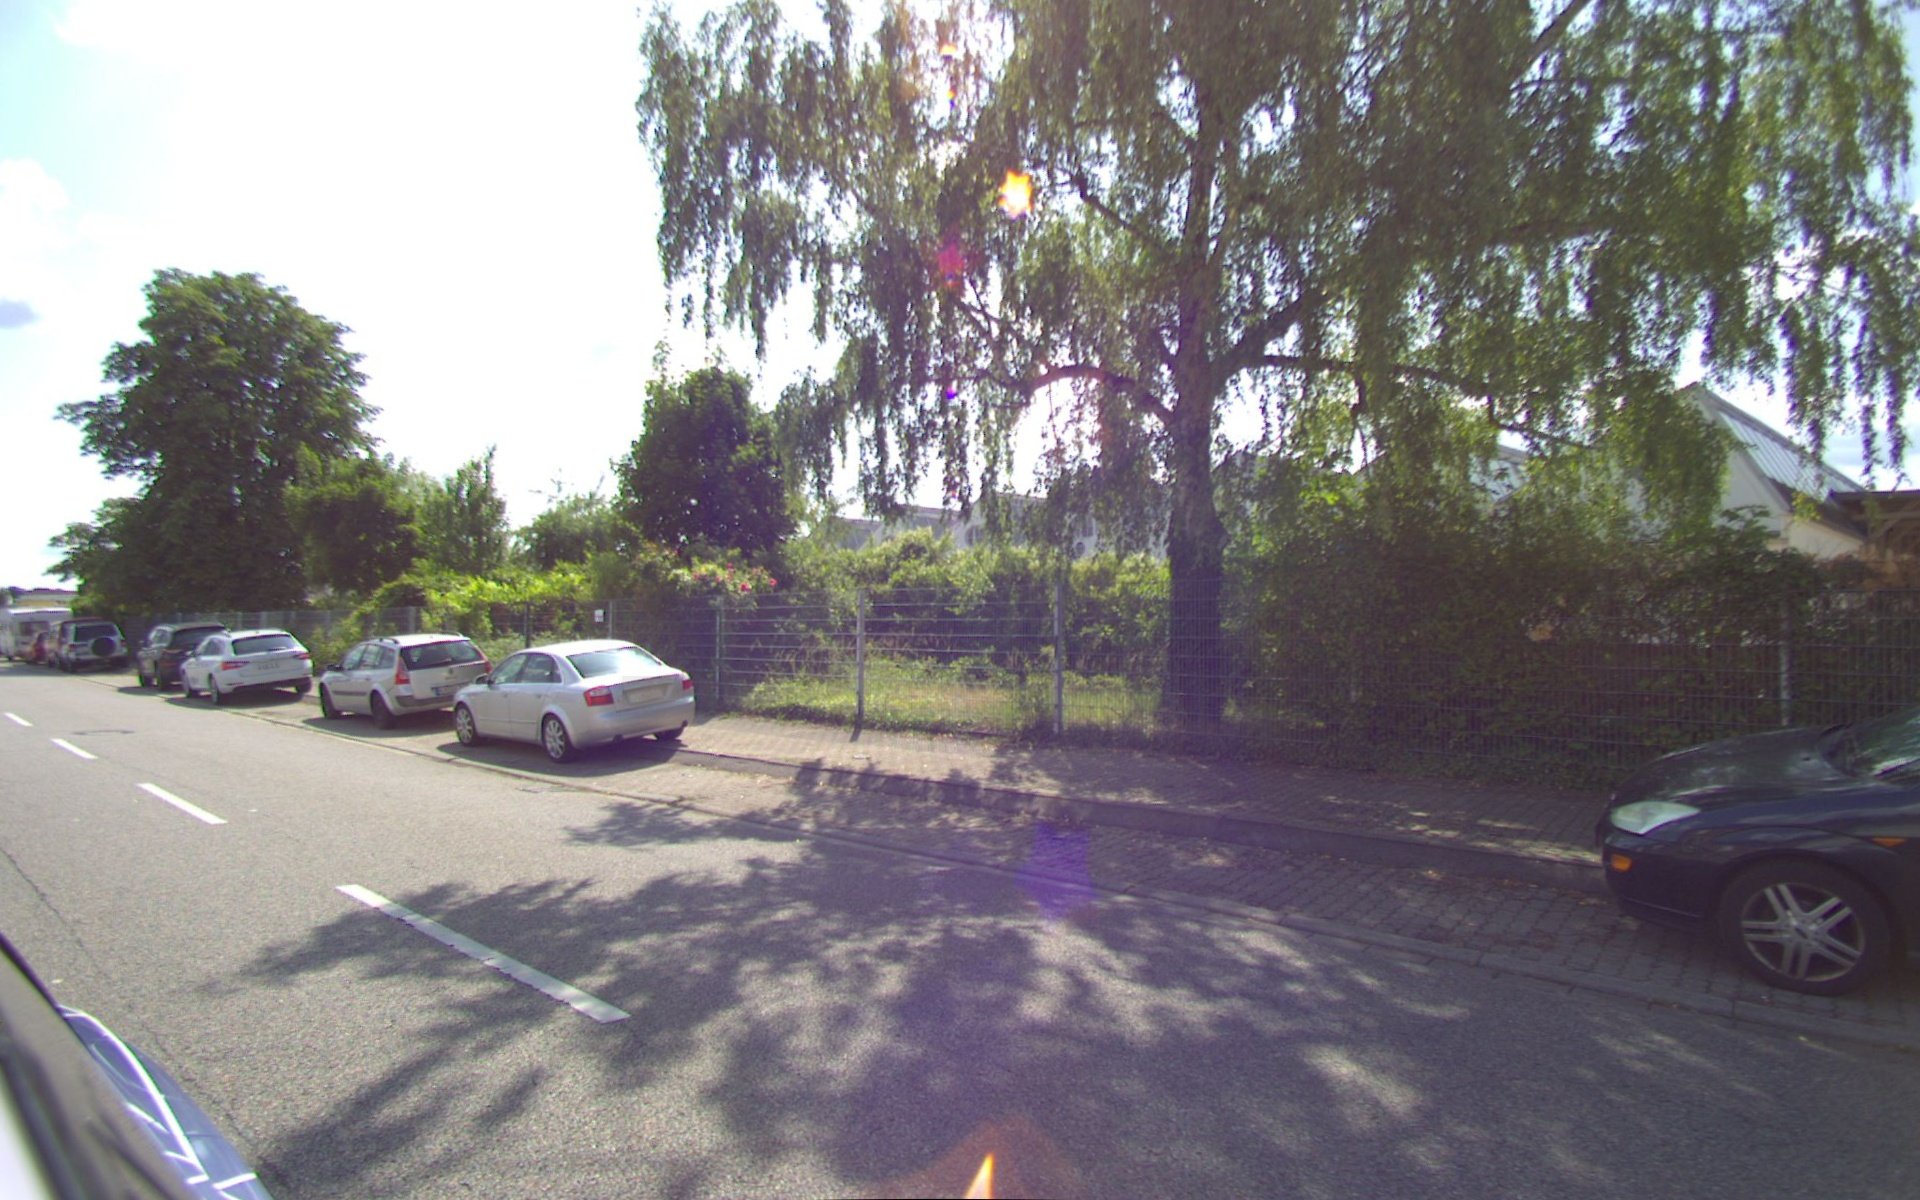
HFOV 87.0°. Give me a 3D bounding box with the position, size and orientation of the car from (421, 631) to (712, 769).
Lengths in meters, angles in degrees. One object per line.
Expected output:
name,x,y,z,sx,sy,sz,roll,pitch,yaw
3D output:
car,-5.541,1.232,13.938,4.628,1.488,1.706,-2,2,41

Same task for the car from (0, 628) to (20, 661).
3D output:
car,-52.694,2.423,54.981,4.439,1.704,1.667,-1,2,38

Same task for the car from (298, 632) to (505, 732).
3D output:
car,-10.002,1.347,17.965,4.657,1.539,1.775,-2,-2,42

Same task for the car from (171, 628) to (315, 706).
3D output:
car,-16.438,1.453,23.093,4.786,1.607,1.682,-2,-3,42

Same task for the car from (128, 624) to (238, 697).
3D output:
car,-20.856,1.563,27.098,4.636,1.758,1.593,-2,-1,43

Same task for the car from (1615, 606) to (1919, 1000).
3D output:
car,5.218,0.825,4.073,4.155,1.523,1.665,-1,2,41

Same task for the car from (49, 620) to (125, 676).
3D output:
car,-31.883,1.712,36.916,3.827,1.815,1.681,-2,1,44

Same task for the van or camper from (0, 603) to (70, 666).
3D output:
van or camper,-46.367,1.683,50.238,6.828,2.824,2.240,-1,1,40

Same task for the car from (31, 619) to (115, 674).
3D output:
car,-36.404,1.848,41.487,4.956,1.969,1.879,-1,3,41

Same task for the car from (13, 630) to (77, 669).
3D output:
car,-41.049,2.173,45.381,4.267,1.544,1.608,-1,2,42
